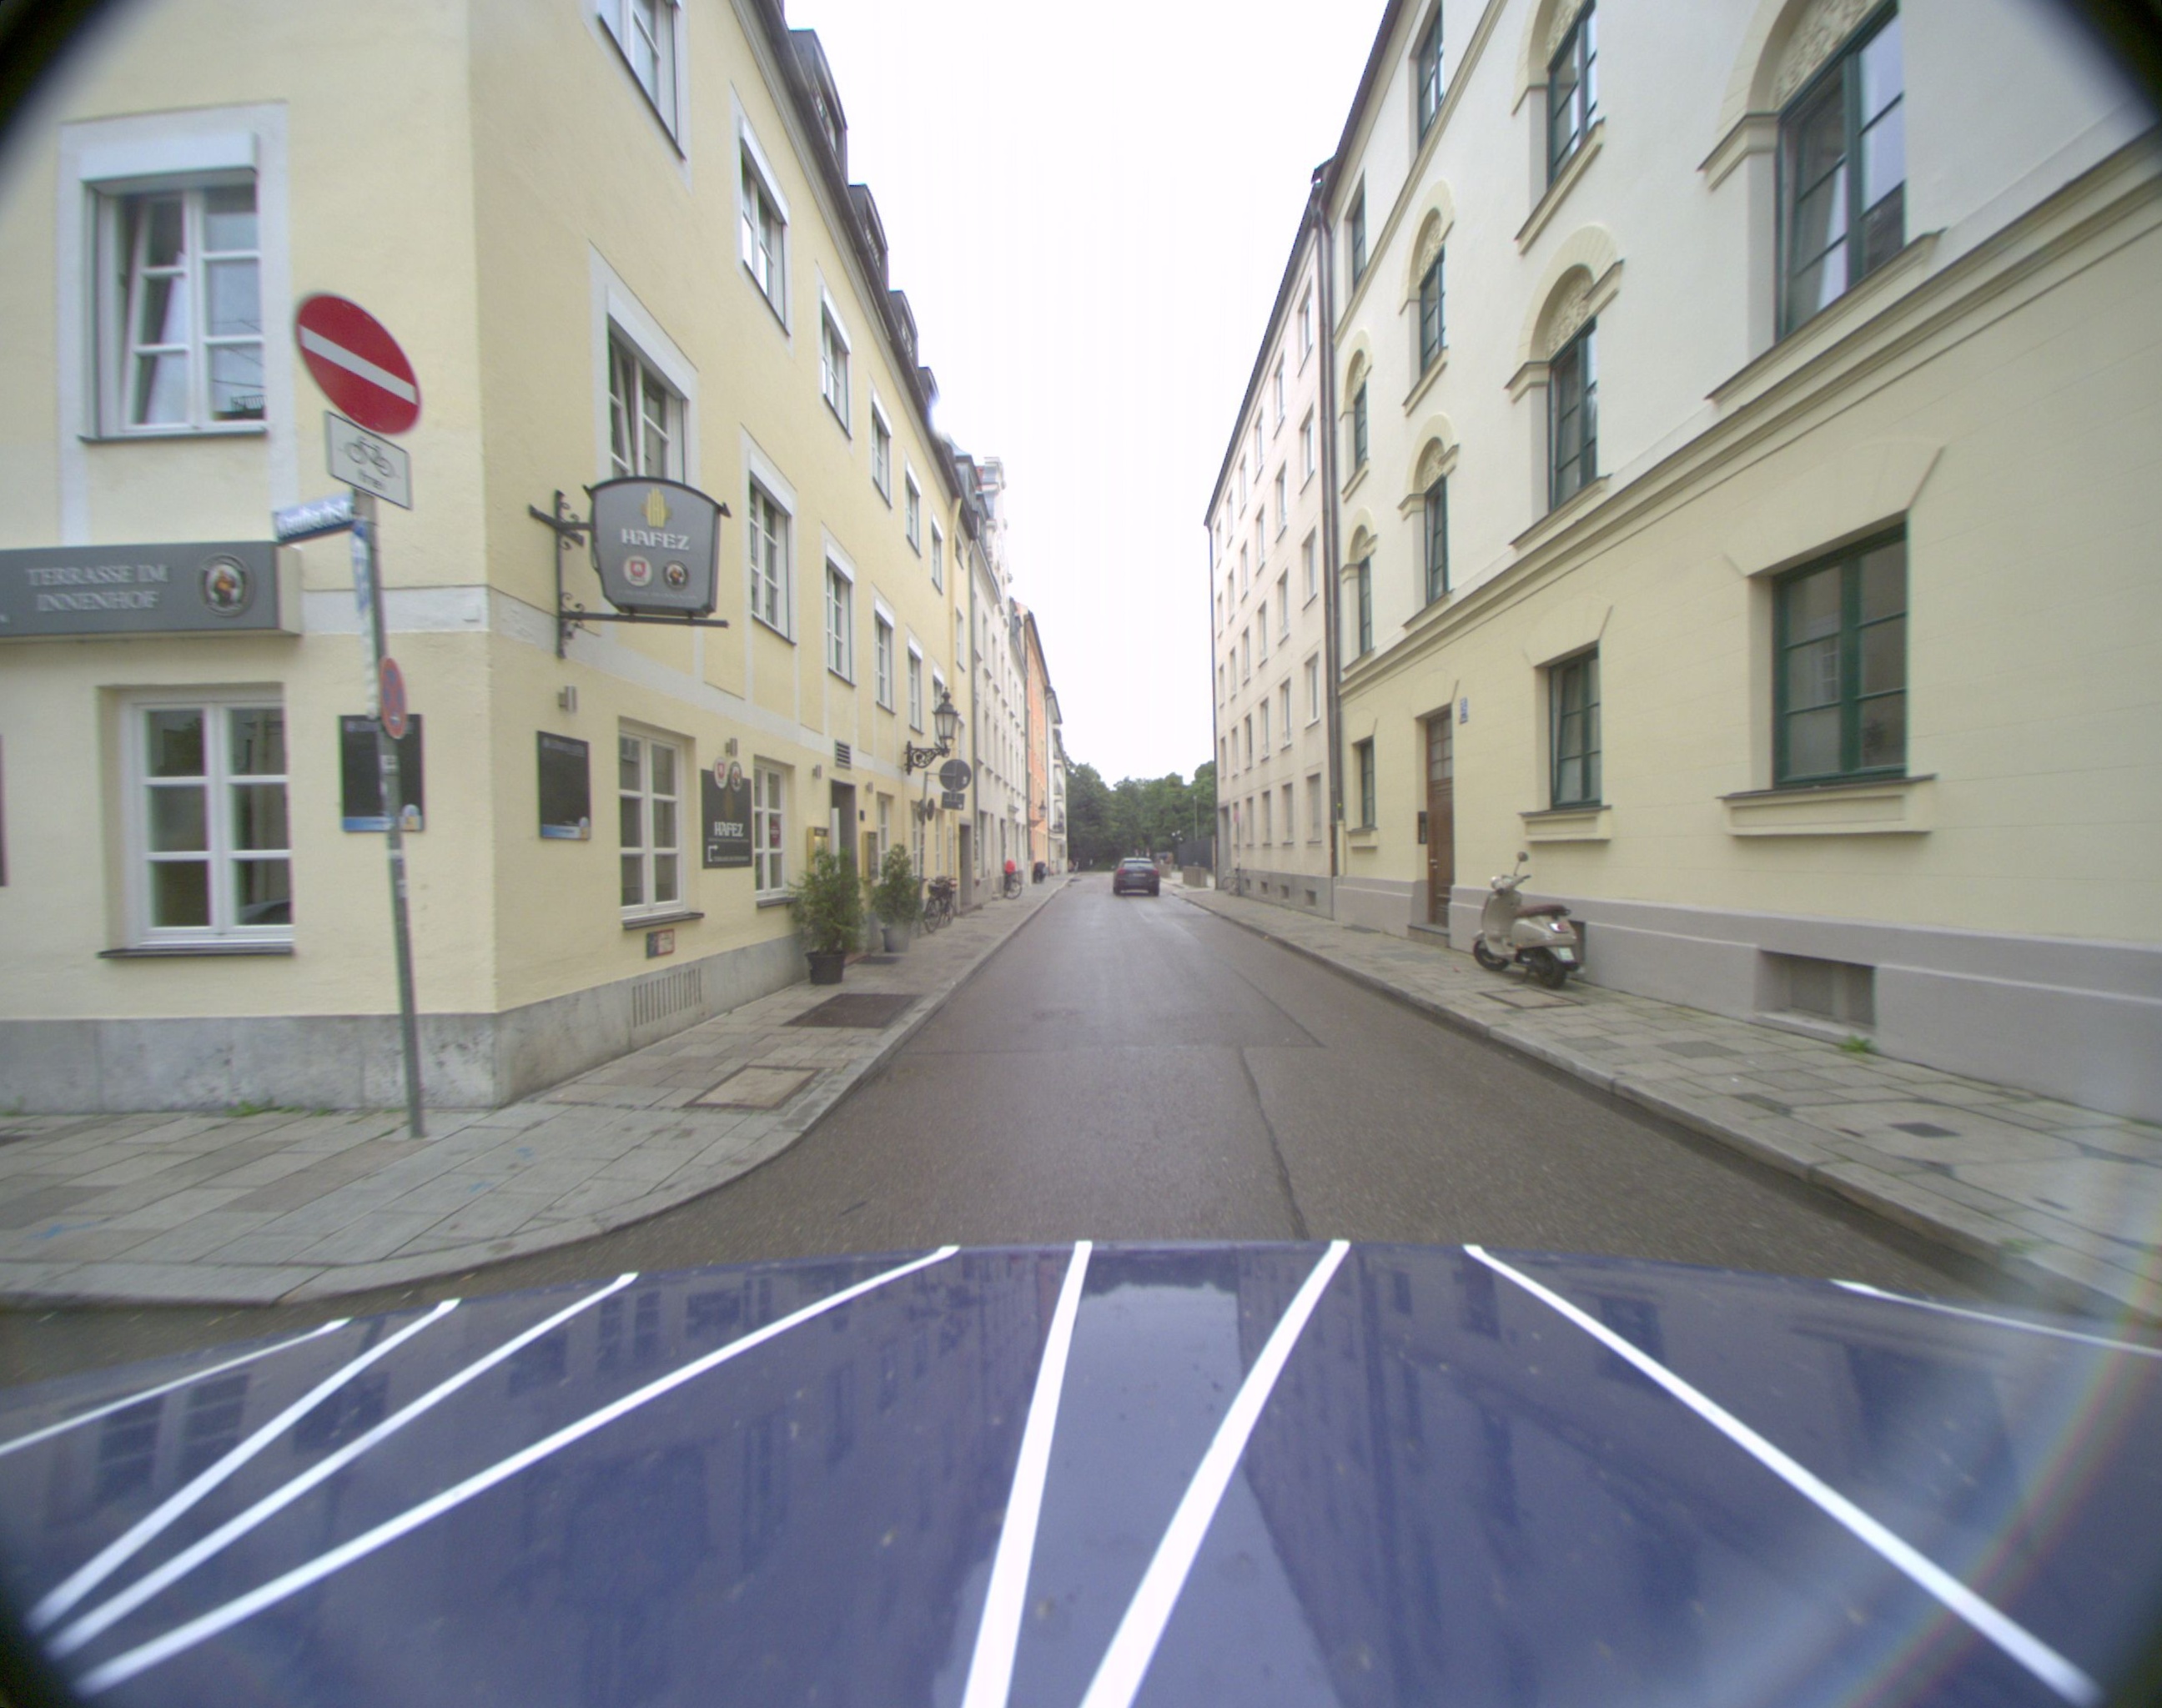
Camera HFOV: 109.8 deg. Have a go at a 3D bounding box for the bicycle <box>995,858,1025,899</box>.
[{"bbox_3d":[-2.564,0.869,27.627,0.715,1.388,2.122,1,0,4],"label":"bicycle"}]

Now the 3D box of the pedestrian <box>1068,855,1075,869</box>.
[{"bbox_3d":[-1.109,0.904,86.454,0.753,1.671,0.656,-1,0,0],"label":"pedestrian"}]

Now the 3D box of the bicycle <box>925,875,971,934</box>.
[{"bbox_3d":[-2.875,1.061,16.546,0.567,1.130,1.988,1,0,2],"label":"bicycle"}]

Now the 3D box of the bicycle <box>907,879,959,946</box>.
[{"bbox_3d":[-2.761,1.062,14.323,0.567,1.130,1.684,1,0,2],"label":"bicycle"}]

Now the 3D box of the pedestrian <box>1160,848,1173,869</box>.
[{"bbox_3d":[8.794,0.436,78.028,1.226,2.091,1.117,-1,0,3],"label":"pedestrian"}]

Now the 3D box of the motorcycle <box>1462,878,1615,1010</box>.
[{"bbox_3d":[4.743,0.880,8.024,0.603,1.167,1.708,-2,0,2],"label":"motorcycle"}]

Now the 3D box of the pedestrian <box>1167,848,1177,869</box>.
[{"bbox_3d":[7.786,0.400,65.078,0.826,1.713,0.906,-3,0,6],"label":"pedestrian"}]

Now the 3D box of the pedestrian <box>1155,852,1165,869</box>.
[{"bbox_3d":[7.304,0.589,70.433,0.778,1.531,0.933,-3,0,8],"label":"pedestrian"}]

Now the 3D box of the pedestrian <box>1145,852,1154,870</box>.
[{"bbox_3d":[5.870,0.621,65.218,0.640,1.458,1.079,-3,0,2],"label":"pedestrian"}]

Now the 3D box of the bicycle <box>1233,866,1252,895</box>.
[{"bbox_3d":[5.627,0.913,26.500,0.320,0.938,1.574,-4,0,3],"label":"bicycle"}]

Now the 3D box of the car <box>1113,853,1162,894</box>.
[{"bbox_3d":[2.299,0.767,31.833,1.816,1.584,4.000,0,0,1],"label":"car"}]

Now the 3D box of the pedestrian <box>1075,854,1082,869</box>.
[{"bbox_3d":[-0.258,0.852,86.651,0.753,1.725,0.853,-1,0,0],"label":"pedestrian"}]

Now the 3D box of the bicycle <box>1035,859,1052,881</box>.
[{"bbox_3d":[-2.185,0.909,44.569,0.681,1.233,2.383,3,0,3],"label":"bicycle"}]
